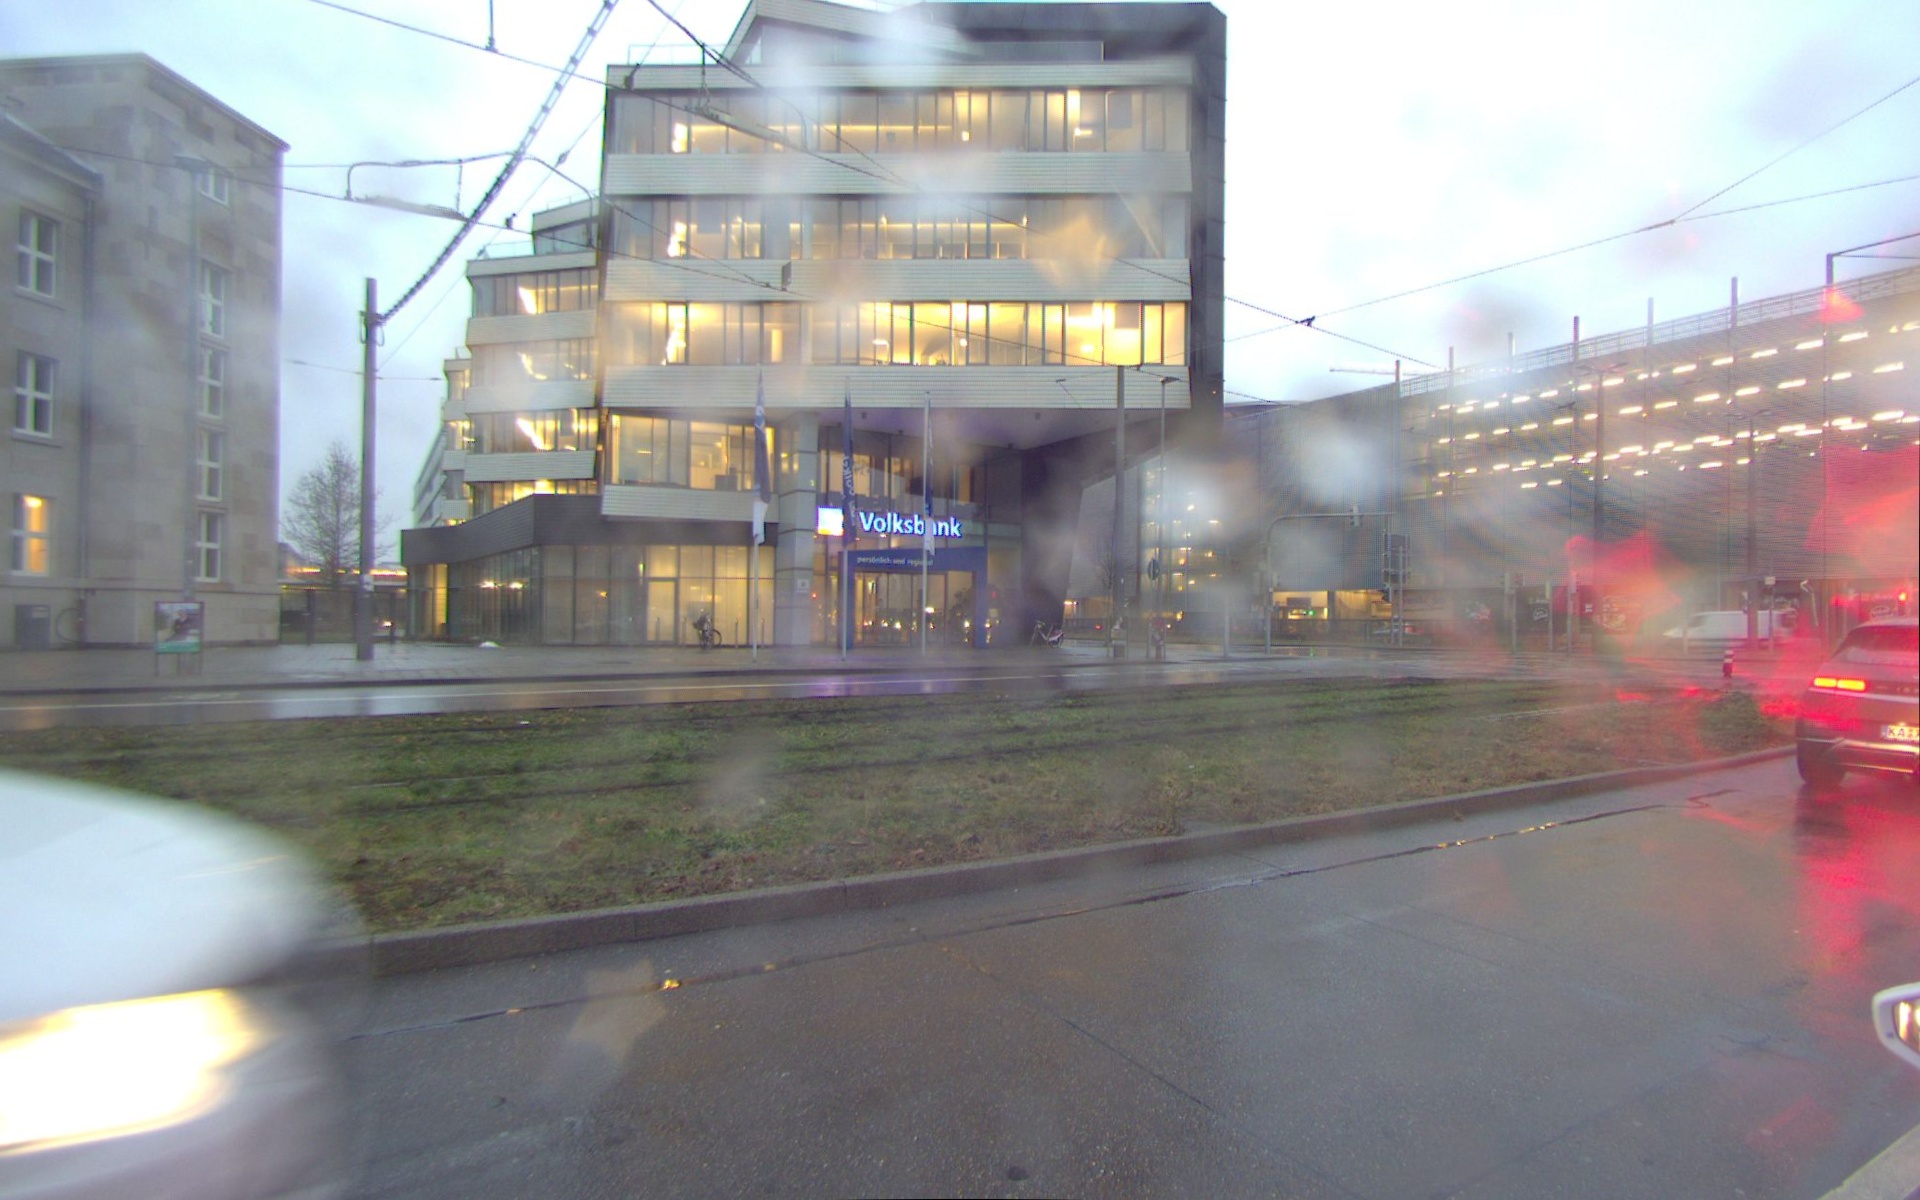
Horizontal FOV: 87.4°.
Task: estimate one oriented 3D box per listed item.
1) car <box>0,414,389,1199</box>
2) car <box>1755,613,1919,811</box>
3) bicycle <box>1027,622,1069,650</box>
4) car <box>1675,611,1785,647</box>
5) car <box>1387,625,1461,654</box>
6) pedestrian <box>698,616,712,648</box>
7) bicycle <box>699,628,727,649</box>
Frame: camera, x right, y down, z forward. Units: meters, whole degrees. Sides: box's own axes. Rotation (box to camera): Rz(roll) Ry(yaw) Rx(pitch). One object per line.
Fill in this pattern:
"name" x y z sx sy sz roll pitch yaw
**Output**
"car" -3.237 0.534 1.426 4.093 1.682 1.664 1 1 -27
"car" 9.282 0.952 9.448 3.959 1.595 1.742 1 -1 -34
"bicycle" 3.516 1.445 40.108 1.588 1.105 0.553 1 -1 -23
"car" 44.642 1.648 58.321 1.782 2.027 4.806 1 -1 -36
"car" 34.590 2.940 74.975 1.782 2.027 4.806 1 -1 -36
"pedestrian" -8.728 1.095 34.345 0.380 1.103 0.325 0 -1 5
"bicycle" -8.628 1.354 35.064 0.896 0.724 0.483 1 -1 -10
